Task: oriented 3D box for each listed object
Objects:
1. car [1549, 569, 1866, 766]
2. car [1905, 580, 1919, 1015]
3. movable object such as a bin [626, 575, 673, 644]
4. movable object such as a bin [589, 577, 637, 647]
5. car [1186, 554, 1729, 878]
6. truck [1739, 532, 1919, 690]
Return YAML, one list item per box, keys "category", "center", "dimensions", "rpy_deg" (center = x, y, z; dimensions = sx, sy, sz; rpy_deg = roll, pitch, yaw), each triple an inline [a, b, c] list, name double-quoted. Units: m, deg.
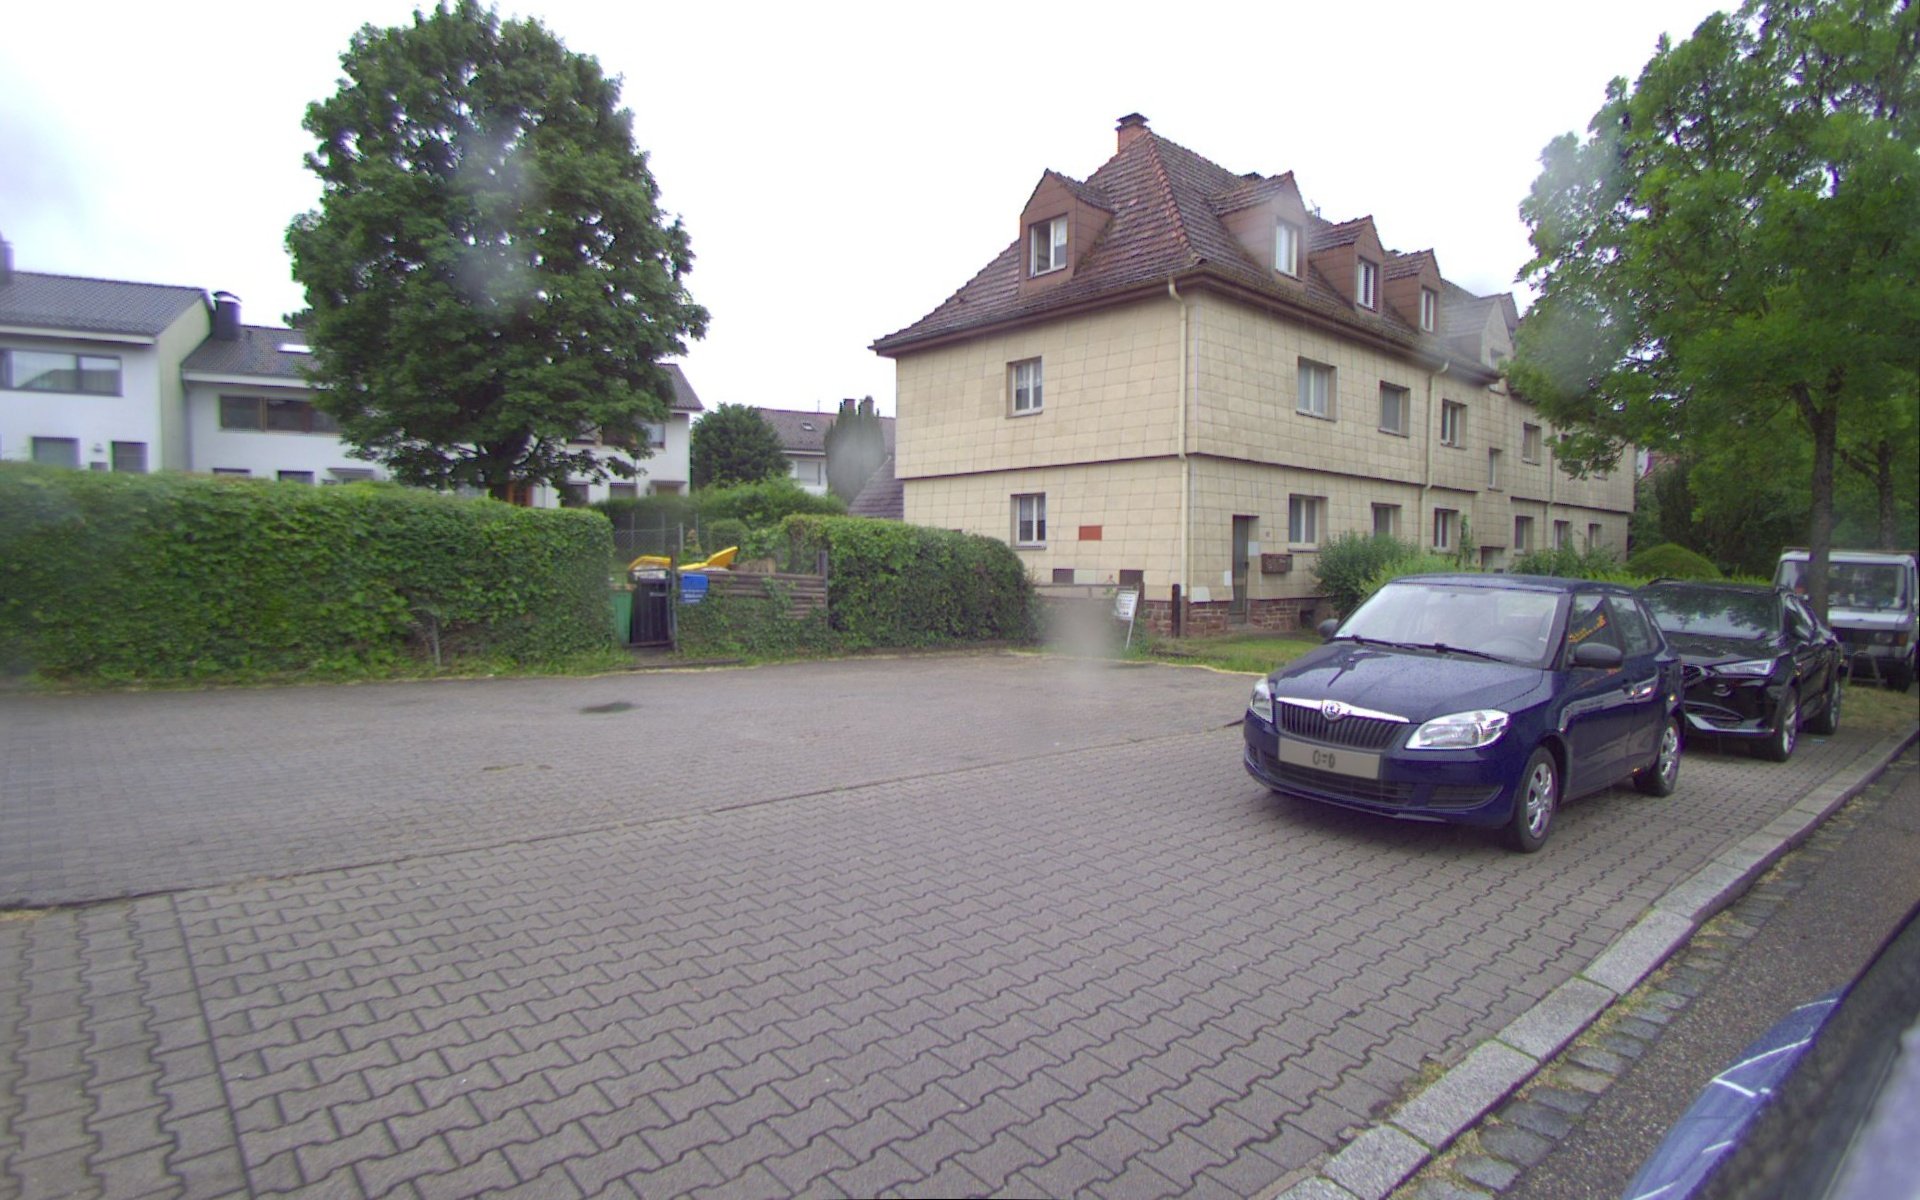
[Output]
- category: "car"
  center: [7.455, 0.492, 9.951]
  dimensions: [3.932, 1.481, 1.719]
  rpy_deg: [-1, 4, -42]
- category: "car"
  center: [5.610, 0.693, 4.298]
  dimensions: [4.240, 1.548, 1.881]
  rpy_deg: [0, -1, -41]
- category: "movable object such as a bin"
  center: [-4.452, 0.131, 14.494]
  dimensions: [0.441, 0.954, 0.539]
  rpy_deg: [0, 0, -45]
- category: "movable object such as a bin"
  center: [-4.833, 0.164, 14.102]
  dimensions: [0.441, 0.954, 0.539]
  rpy_deg: [0, 0, -45]
- category: "car"
  center: [3.393, 0.485, 6.574]
  dimensions: [3.930, 1.441, 1.719]
  rpy_deg: [-1, 4, -41]
- category: "truck"
  center: [14.939, 0.120, 16.769]
  dimensions: [5.653, 2.224, 1.998]
  rpy_deg: [0, 2, -40]
